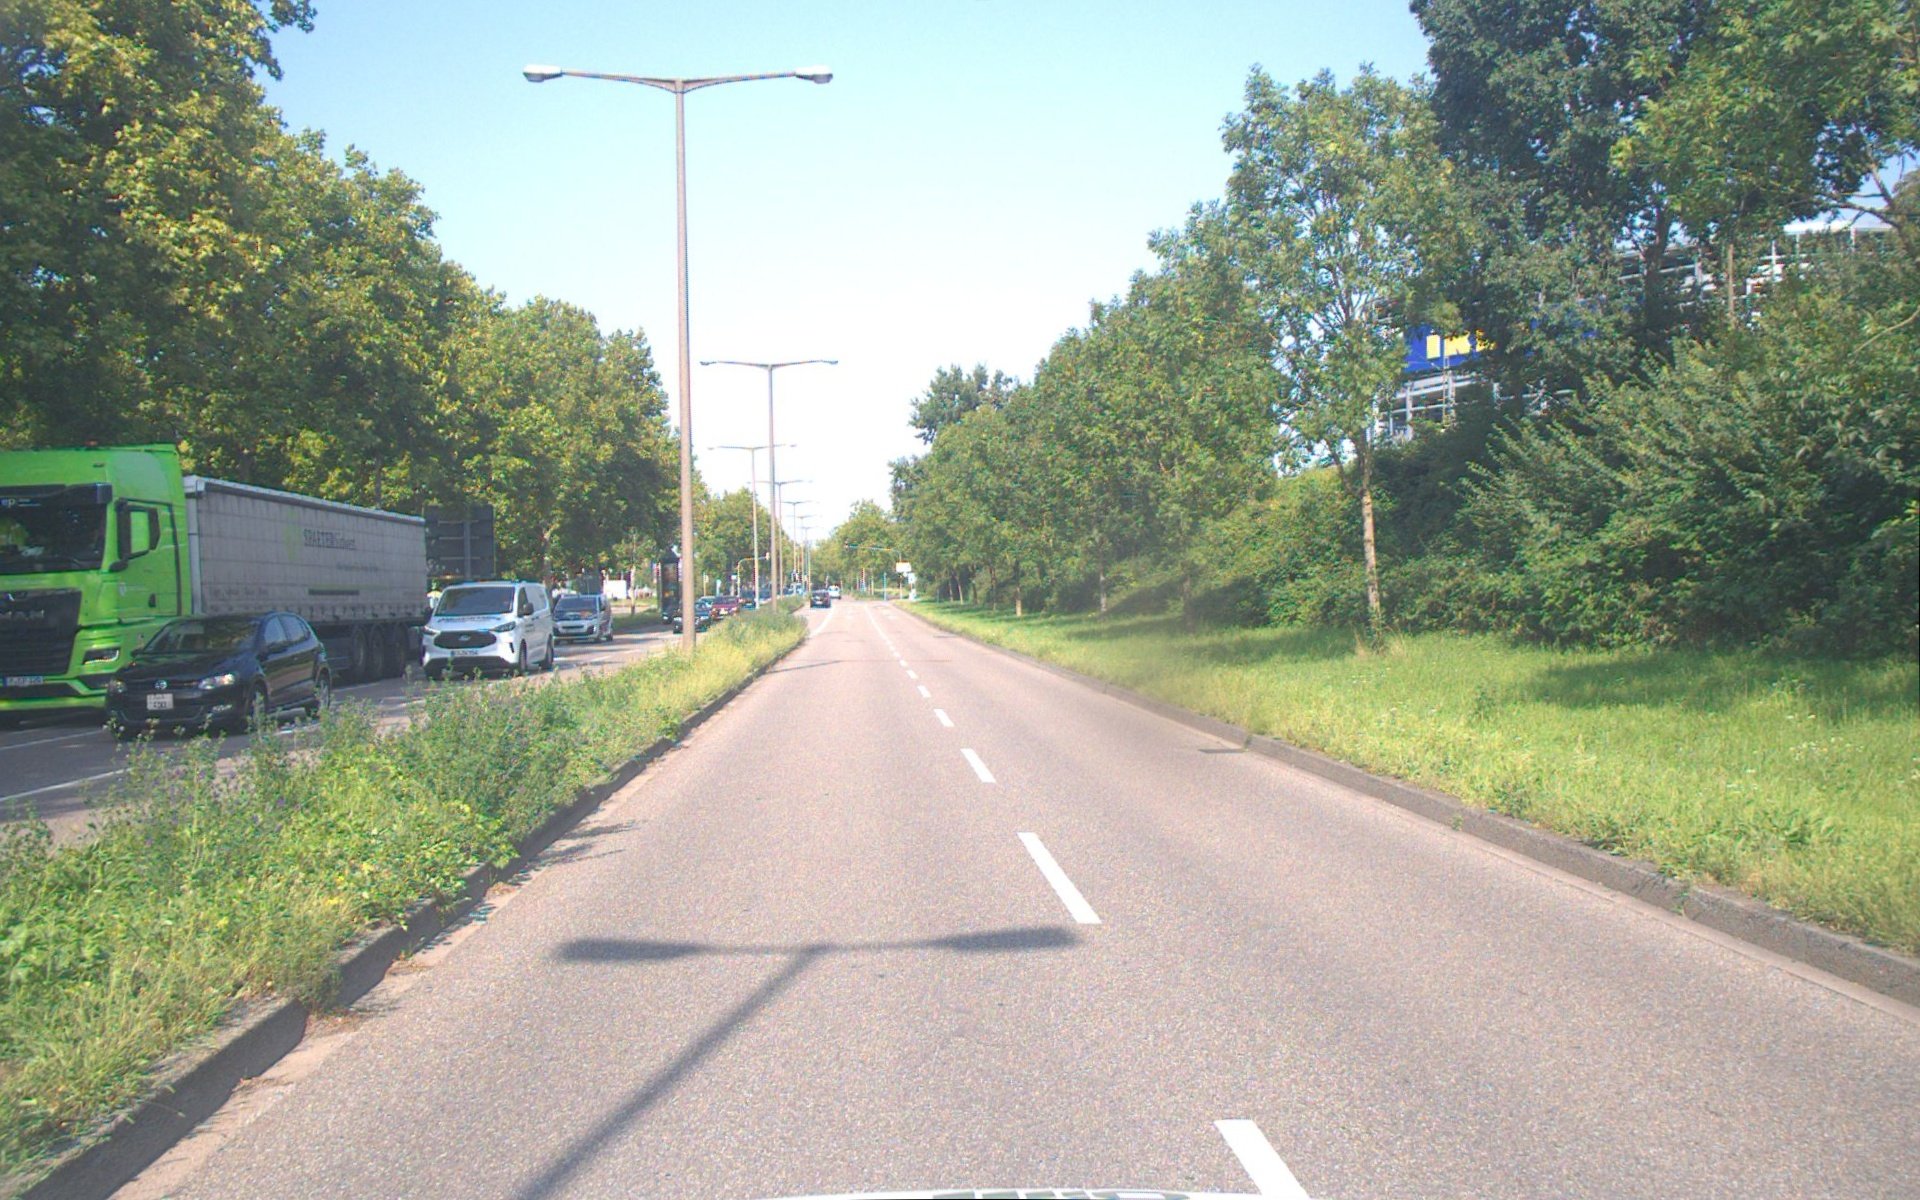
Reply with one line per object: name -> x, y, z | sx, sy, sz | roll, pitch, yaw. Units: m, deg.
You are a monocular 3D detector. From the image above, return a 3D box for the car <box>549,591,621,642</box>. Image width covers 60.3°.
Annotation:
car -> -14.928, 0.641, 66.076 | 1.945, 1.891, 4.965 | -3, 0, -4

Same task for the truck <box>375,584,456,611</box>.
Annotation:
truck -> -67.623, -0.352, 205.415 | 8.931, 3.009, 3.463 | -2, 0, -40

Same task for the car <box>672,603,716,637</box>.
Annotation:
car -> -12.733, 0.925, 79.374 | 1.712, 1.505, 4.581 | -3, 0, -5

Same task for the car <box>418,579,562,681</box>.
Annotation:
car -> -9.947, 0.585, 35.398 | 1.954, 1.988, 5.032 | -1, 0, -4

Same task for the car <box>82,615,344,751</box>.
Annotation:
car -> -9.105, 0.944, 20.514 | 1.582, 1.423, 3.855 | -3, 0, -3

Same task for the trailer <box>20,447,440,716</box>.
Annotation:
trailer -> -13.030, -0.270, 31.521 | 2.581, 3.888, 13.800 | -3, 0, -4

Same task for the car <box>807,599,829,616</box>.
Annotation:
car -> -12.993, 0.668, 151.764 | 1.657, 1.512, 3.999 | -1, 0, -1

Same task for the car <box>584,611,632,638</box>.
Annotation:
car -> -18.701, 1.271, 87.966 | 1.755, 1.285, 4.093 | -2, 0, -2

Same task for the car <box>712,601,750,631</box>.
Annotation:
car -> -13.912, 0.940, 100.822 | 1.915, 1.754, 4.583 | -1, 0, -4

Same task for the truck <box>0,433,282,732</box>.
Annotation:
truck -> -12.581, -0.212, 24.843 | 2.556, 3.886, 5.886 | -3, 0, -4

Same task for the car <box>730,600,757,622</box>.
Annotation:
car -> -18.945, 0.919, 145.064 | 1.954, 1.790, 4.473 | -3, 0, -4
